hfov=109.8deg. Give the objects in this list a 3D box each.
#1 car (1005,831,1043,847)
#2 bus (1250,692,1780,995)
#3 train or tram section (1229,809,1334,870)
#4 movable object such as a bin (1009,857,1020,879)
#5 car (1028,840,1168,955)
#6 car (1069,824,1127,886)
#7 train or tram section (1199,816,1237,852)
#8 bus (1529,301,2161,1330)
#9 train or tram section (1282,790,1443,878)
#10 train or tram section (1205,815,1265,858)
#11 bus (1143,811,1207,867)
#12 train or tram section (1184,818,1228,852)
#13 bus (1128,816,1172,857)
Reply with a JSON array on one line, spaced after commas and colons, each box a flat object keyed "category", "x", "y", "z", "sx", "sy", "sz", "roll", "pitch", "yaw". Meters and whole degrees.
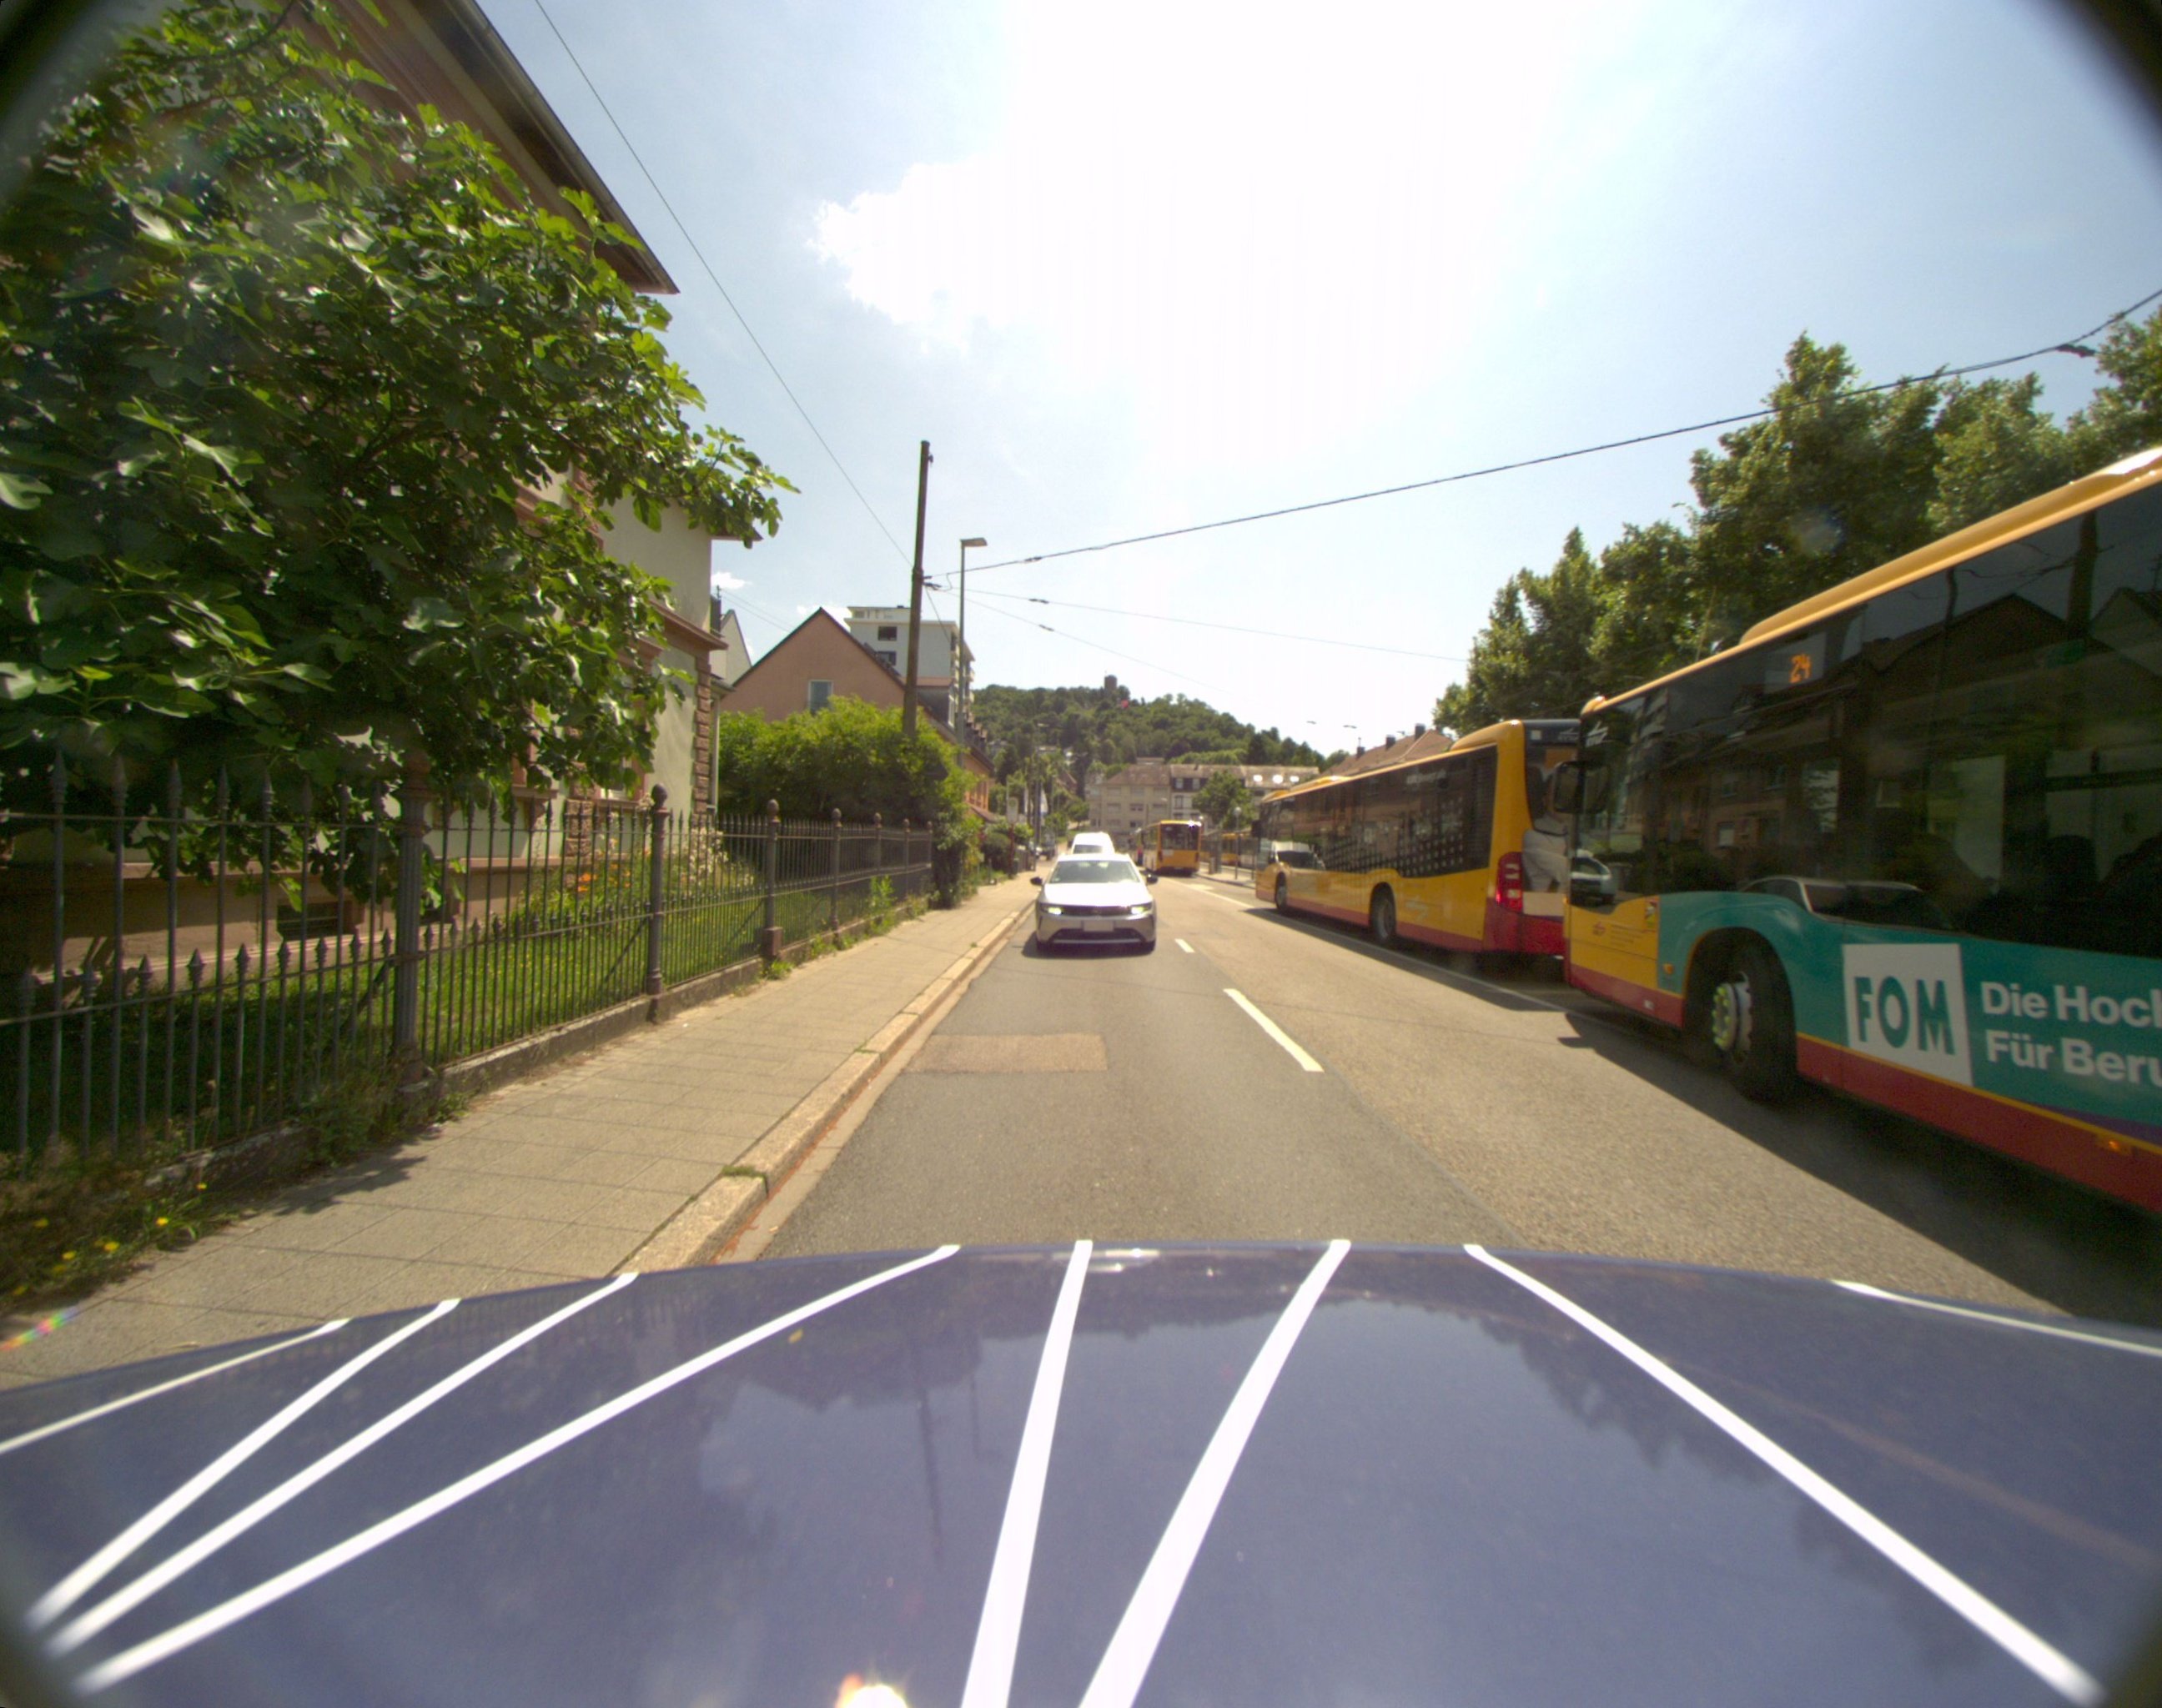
[{"category": "car", "x": -6.607, "y": -1.785, "z": 88.356, "sx": 4.276, "sy": 1.780, "sz": 1.826, "roll": 2, "pitch": 4, "yaw": 40}, {"category": "bus", "x": 5.997, "y": -0.303, "z": 14.220, "sx": 2.915, "sy": 3.230, "sz": 12.113, "roll": 0, "pitch": 2, "yaw": 0}, {"category": "train or tram section", "x": 13.619, "y": -1.170, "z": 53.852, "sx": 2.971, "sy": 3.622, "sz": 17.345, "roll": 0, "pitch": 2, "yaw": 0}, {"category": "movable object such as a bin", "x": -2.958, "y": 0.615, "z": 33.703, "sx": 0.407, "sy": 0.902, "sz": 0.729, "roll": 5, "pitch": 3, "yaw": -3}, {"category": "car", "x": 0.372, "y": 0.524, "z": 12.102, "sx": 1.818, "sy": 1.372, "sz": 4.391, "roll": 1, "pitch": 2, "yaw": 4}, {"category": "car", "x": 0.588, "y": -0.063, "z": 31.277, "sx": 1.999, "sy": 2.259, "sz": 5.440, "roll": -1, "pitch": 3, "yaw": -3}, {"category": "train or tram section", "x": 13.869, "y": -2.052, "z": 77.084, "sx": 2.971, "sy": 3.476, "sz": 4.415, "roll": 2, "pitch": 2, "yaw": 0}, {"category": "bus", "x": 4.528, "y": -0.110, "z": 1.189, "sx": 2.784, "sy": 3.190, "sz": 12.316, "roll": 0, "pitch": 1, "yaw": 12}, {"category": "train or tram section", "x": 13.500, "y": -1.053, "z": 38.437, "sx": 2.971, "sy": 3.622, "sz": 13.988, "roll": 0, "pitch": 2, "yaw": 0}, {"category": "train or tram section", "x": 13.666, "y": -1.654, "z": 68.633, "sx": 2.971, "sy": 3.476, "sz": 12.652, "roll": 0, "pitch": 2, "yaw": 0}, {"category": "bus", "x": 5.934, "y": -1.191, "z": 50.132, "sx": 2.905, "sy": 3.230, "sz": 12.190, "roll": 0, "pitch": 3, "yaw": 1}, {"category": "train or tram section", "x": 13.905, "y": -2.188, "z": 85.475, "sx": 2.971, "sy": 3.476, "sz": 12.708, "roll": 0, "pitch": 2, "yaw": 0}, {"category": "bus", "x": 6.171, "y": -1.613, "z": 69.739, "sx": 2.915, "sy": 3.407, "sz": 12.036, "roll": 0, "pitch": 1, "yaw": 0}]
